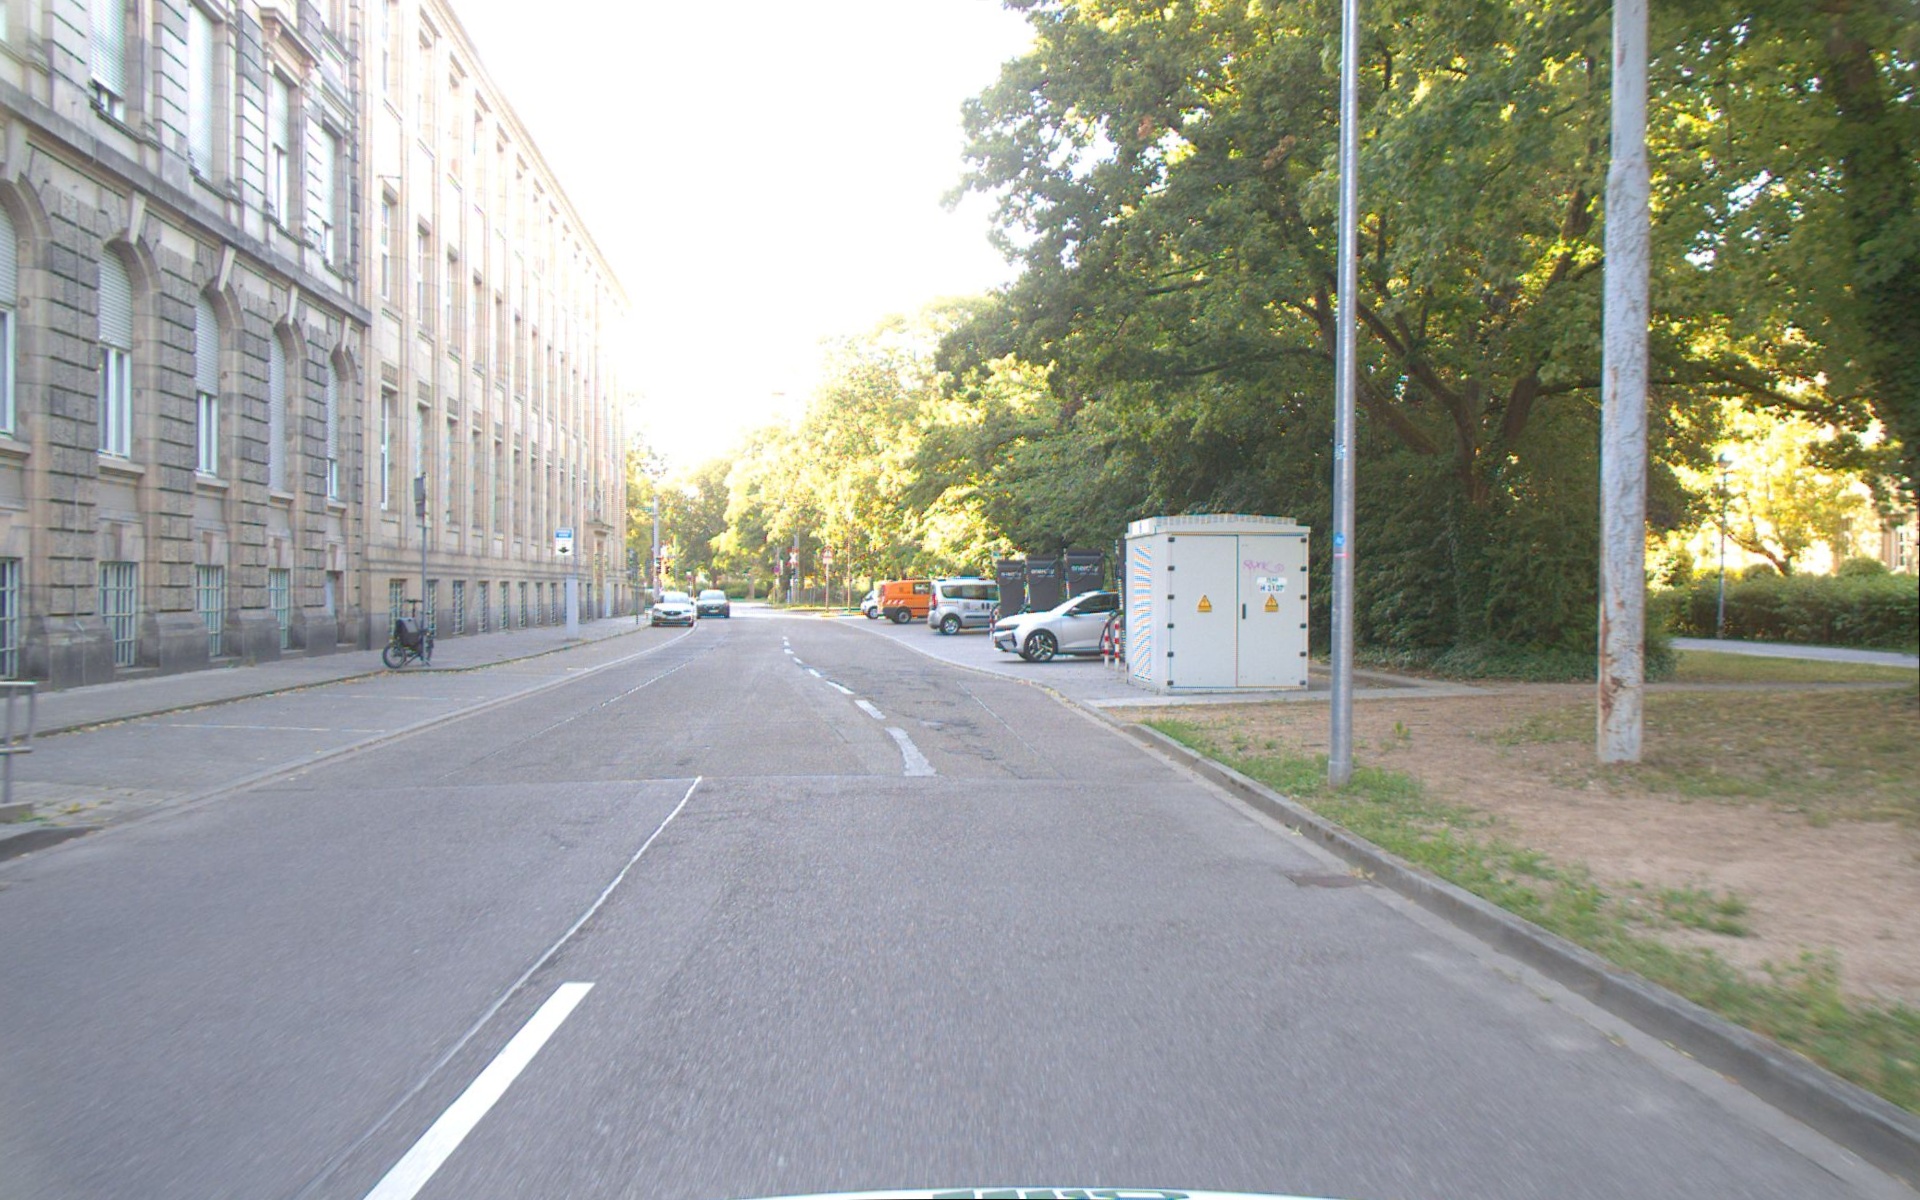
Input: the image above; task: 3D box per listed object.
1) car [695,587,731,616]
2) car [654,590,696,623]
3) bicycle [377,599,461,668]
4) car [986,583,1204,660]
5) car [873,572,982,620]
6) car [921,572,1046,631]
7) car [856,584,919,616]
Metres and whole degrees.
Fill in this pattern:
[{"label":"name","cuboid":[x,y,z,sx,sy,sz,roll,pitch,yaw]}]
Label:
[{"label":"car","cuboid":[-13.293,0.045,89.086,1.844,1.492,4.364,0,1,-9]},{"label":"car","cuboid":[-12.382,0.262,71.915,1.695,1.421,4.364,0,0,-9]},{"label":"bicycle","cuboid":[-9.364,0.563,28.698,0.835,1.120,1.981,2,0,-2]},{"label":"car","cuboid":[2.839,0.432,35.237,4.356,1.495,1.780,-1,0,-7]},{"label":"car","cuboid":[-1.502,-0.199,76.485,4.735,2.049,1.796,-2,1,-13]},{"label":"car","cuboid":[0.784,0.044,57.326,4.146,1.892,1.998,-1,0,-5]},{"label":"car","cuboid":[-3.809,-0.004,86.784,3.089,1.529,1.536,-2,1,-13]}]
